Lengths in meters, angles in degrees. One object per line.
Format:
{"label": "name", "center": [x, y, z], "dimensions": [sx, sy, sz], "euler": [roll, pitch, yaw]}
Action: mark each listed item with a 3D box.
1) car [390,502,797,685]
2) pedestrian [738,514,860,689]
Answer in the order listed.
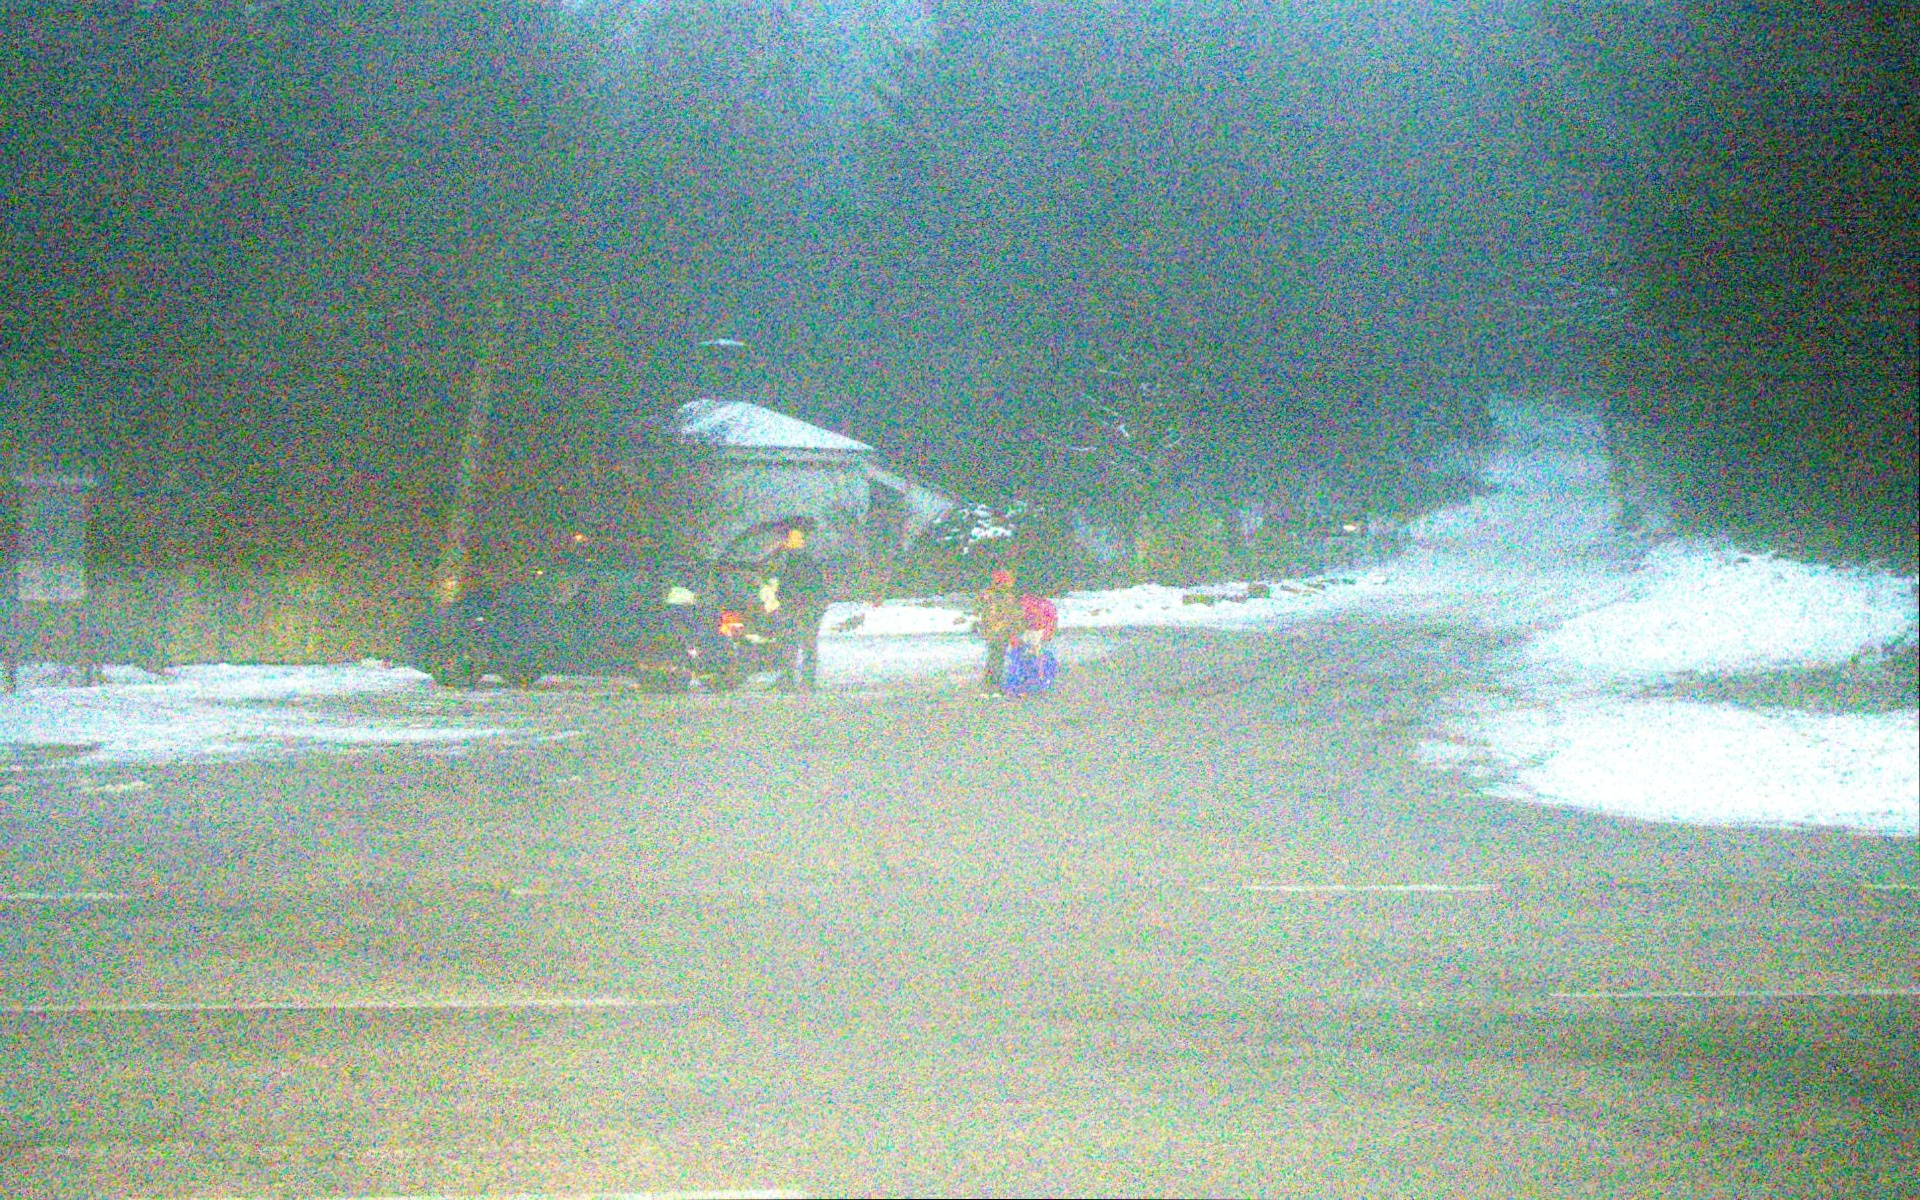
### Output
{"label": "car", "center": [-3.996, -0.076, 37.719], "dimensions": [3.950, 1.875, 1.998], "euler": [1, 0, 16]}
{"label": "pedestrian", "center": [-1.710, 0.013, 36.611], "dimensions": [0.961, 1.822, 0.924], "euler": [1, 0, 21]}
